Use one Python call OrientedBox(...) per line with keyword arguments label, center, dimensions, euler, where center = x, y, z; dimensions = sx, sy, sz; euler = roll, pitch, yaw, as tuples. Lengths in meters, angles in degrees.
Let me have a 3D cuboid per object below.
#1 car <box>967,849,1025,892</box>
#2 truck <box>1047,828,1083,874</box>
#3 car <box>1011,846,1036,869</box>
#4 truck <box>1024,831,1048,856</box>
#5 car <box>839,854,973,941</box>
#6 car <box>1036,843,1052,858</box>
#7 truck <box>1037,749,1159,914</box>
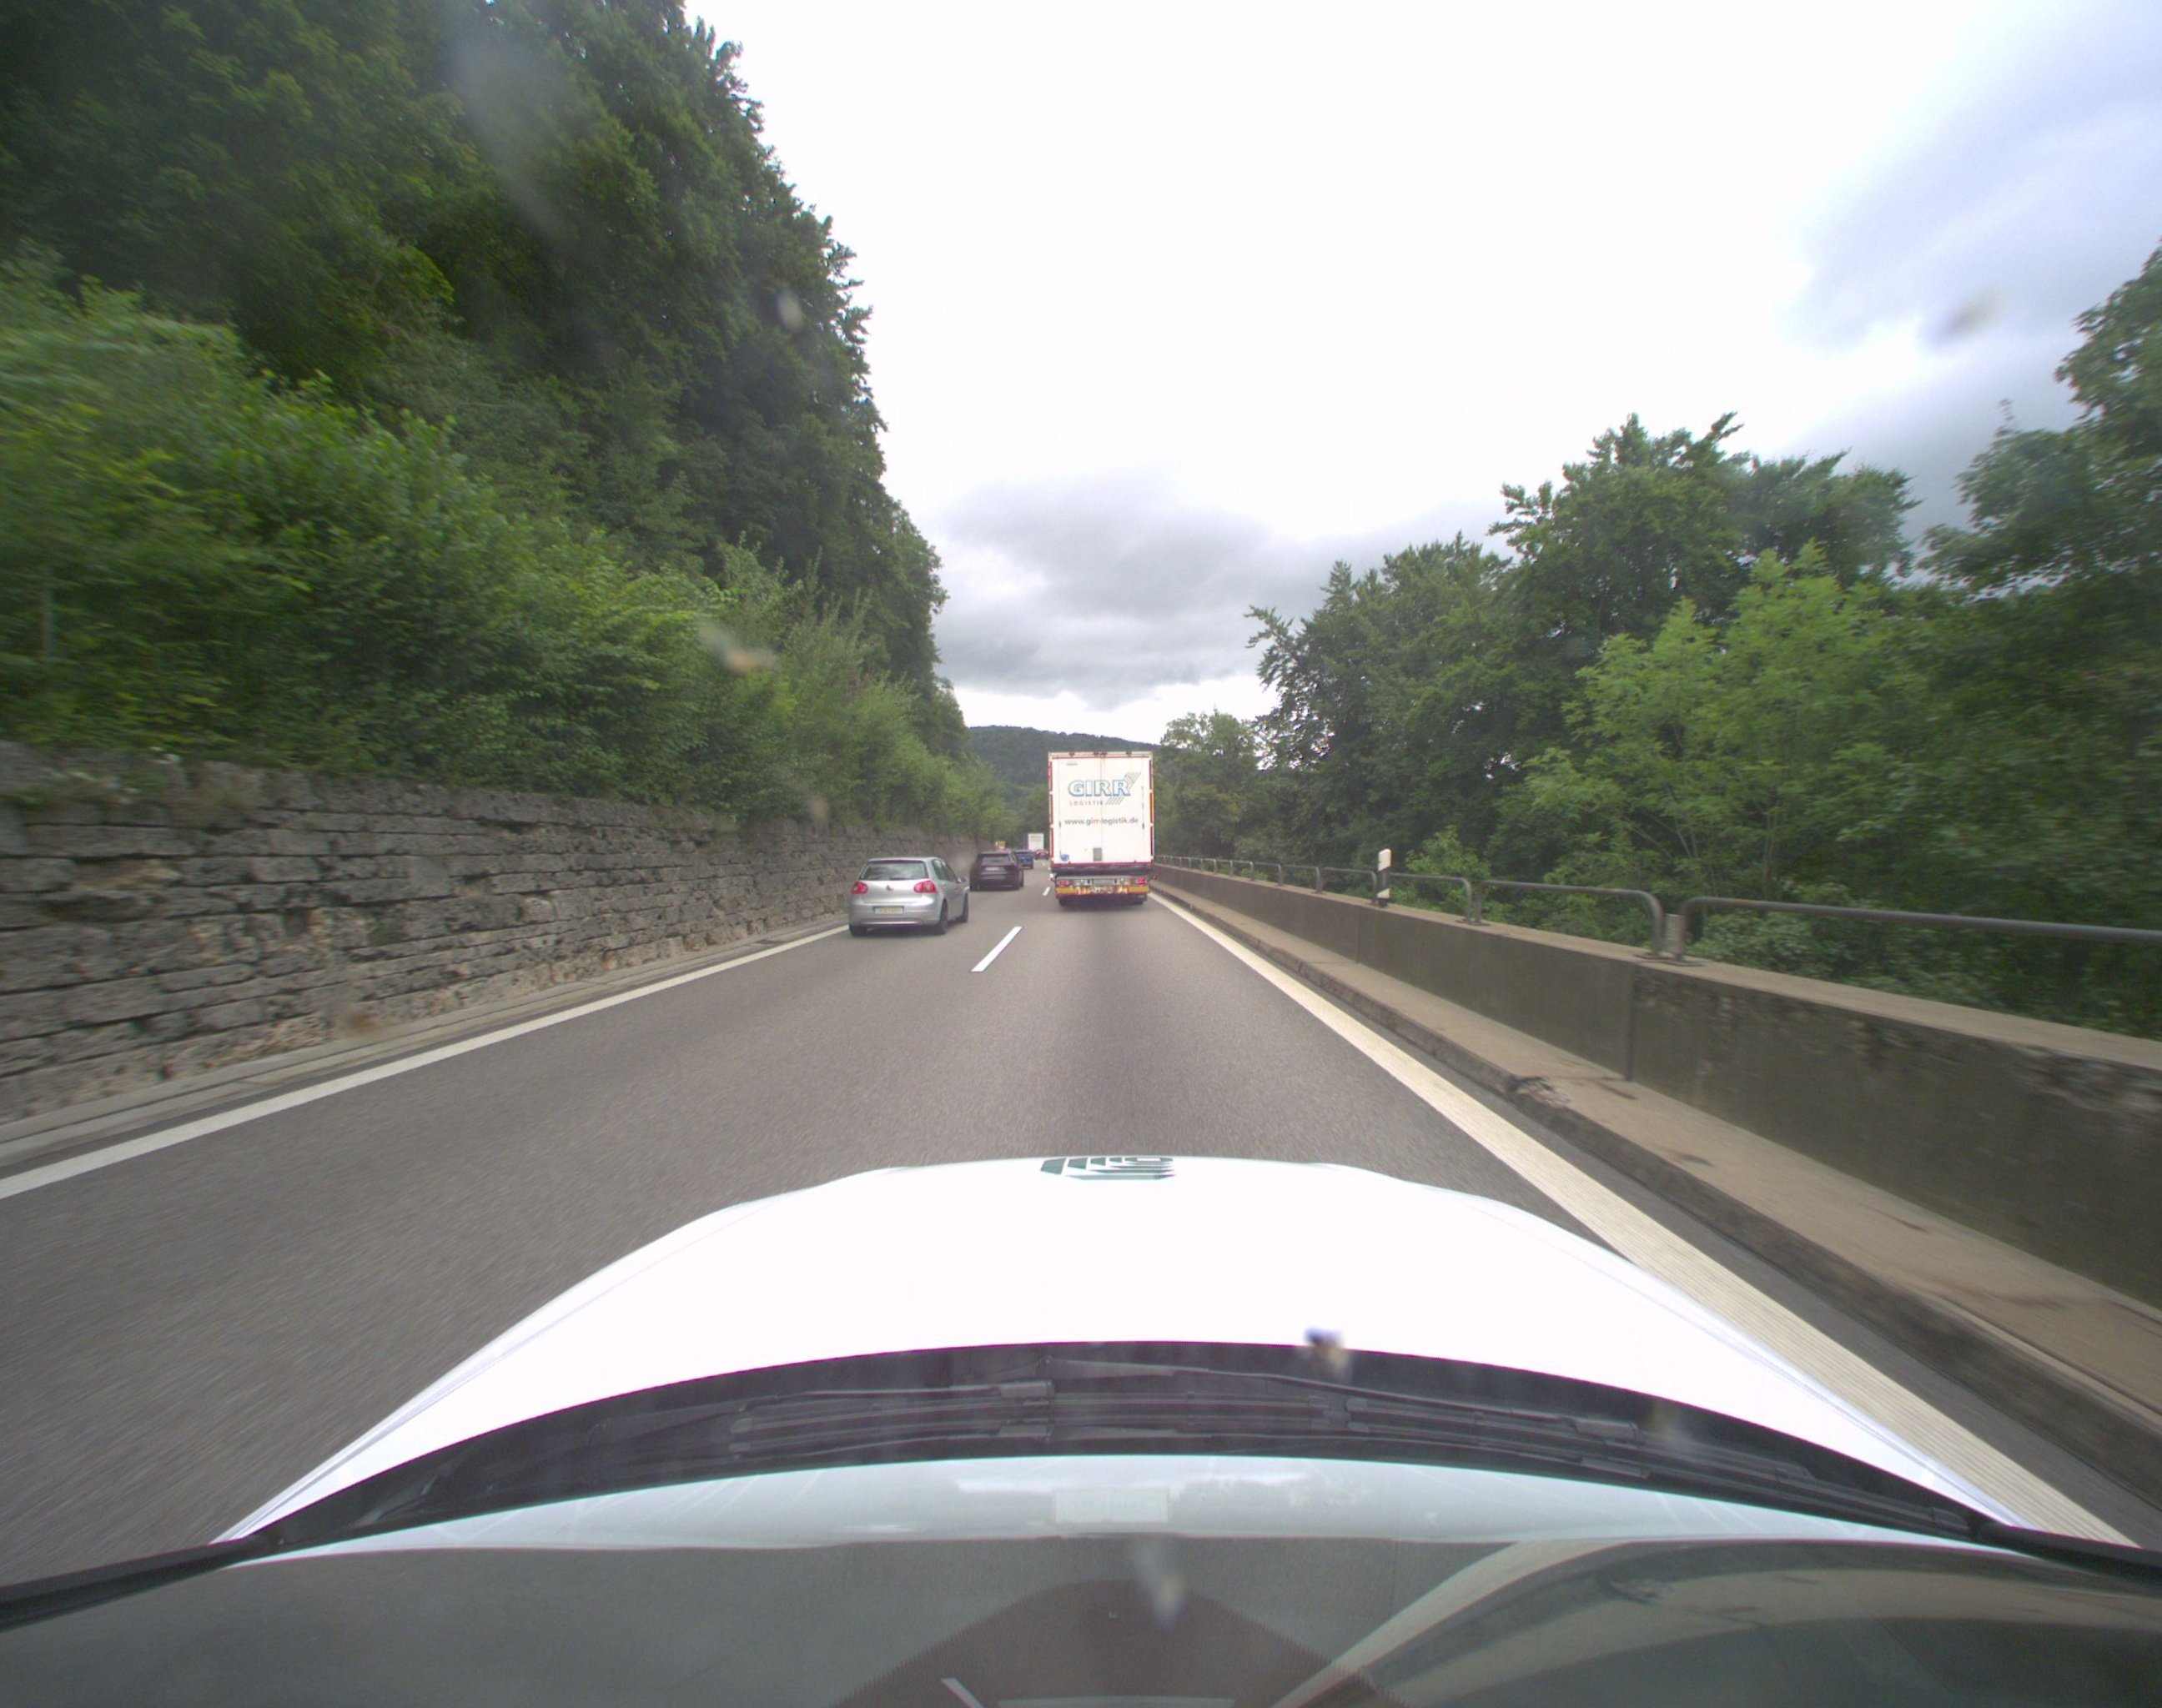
OrientedBox(label="car", center=(-3.386, 0.628, 33.269), dimensions=(1.911, 1.595, 4.178), euler=(-1, 0, 0))
OrientedBox(label="truck", center=(-1.243, -0.231, 68.995), dimensions=(2.477, 3.571, 9.312), euler=(-1, 0, 2))
OrientedBox(label="car", center=(-4.740, 0.282, 67.258), dimensions=(1.990, 1.849, 3.994), euler=(-1, 0, -4))
OrientedBox(label="truck", center=(-7.498, -1.570, 133.488), dimensions=(3.505, 3.847, 11.755), euler=(0, -1, -5))
OrientedBox(label="car", center=(-3.334, 0.761, 16.264), dimensions=(1.723, 1.486, 4.001), euler=(-1, 0, 1))
OrientedBox(label="car", center=(-5.031, -0.474, 111.974), dimensions=(1.987, 2.014, 4.000), euler=(0, -1, 0))
OrientedBox(label="truck", center=(0.471, -0.578, 24.404), dimensions=(2.899, 3.960, 9.279), euler=(-1, 0, 1))
